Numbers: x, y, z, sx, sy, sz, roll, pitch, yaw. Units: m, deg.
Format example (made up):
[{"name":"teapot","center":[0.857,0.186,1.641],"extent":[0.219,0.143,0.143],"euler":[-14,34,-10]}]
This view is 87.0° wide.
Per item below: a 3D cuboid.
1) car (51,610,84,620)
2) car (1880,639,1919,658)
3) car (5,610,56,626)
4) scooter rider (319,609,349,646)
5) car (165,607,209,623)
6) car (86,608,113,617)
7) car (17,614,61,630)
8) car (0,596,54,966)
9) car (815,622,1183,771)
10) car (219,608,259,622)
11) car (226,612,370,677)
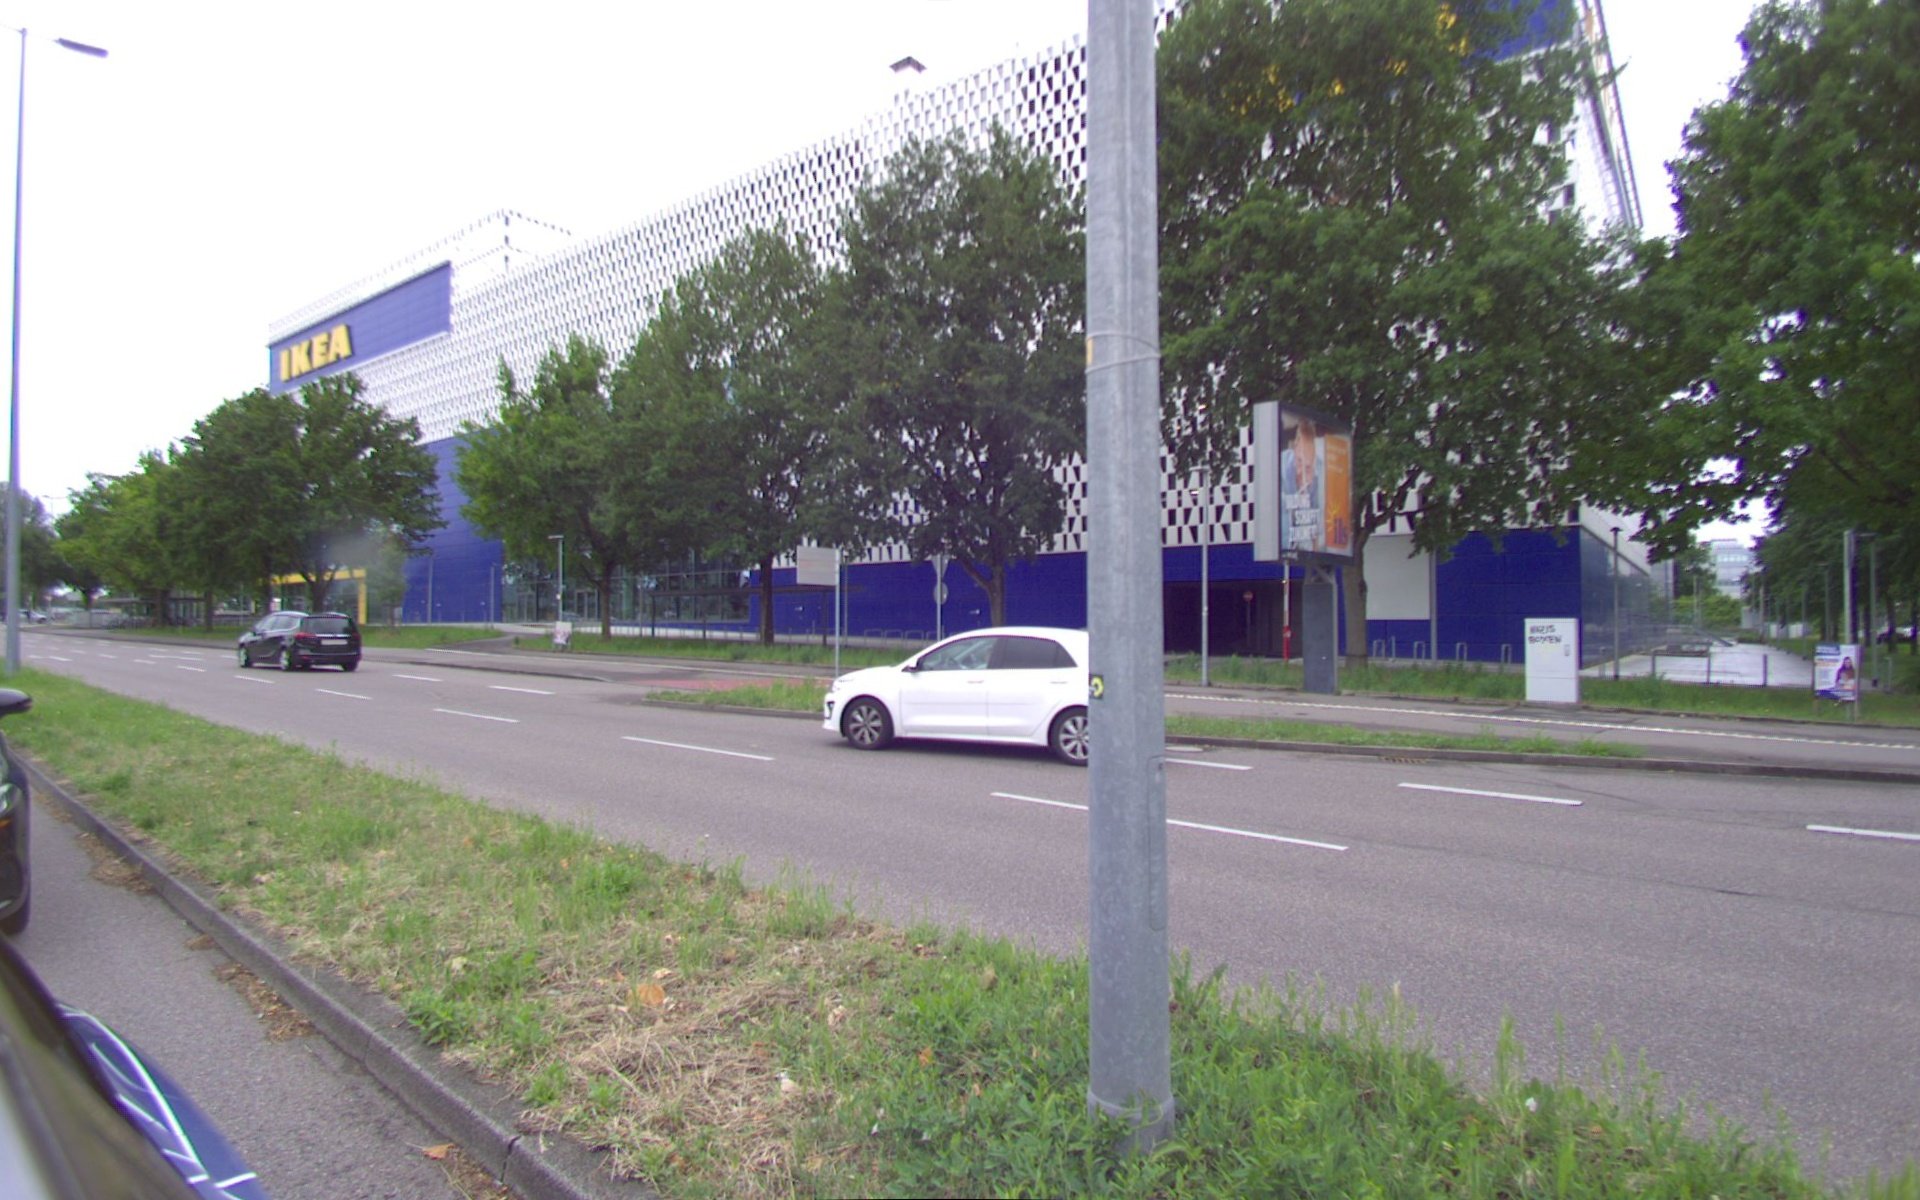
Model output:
[{"name":"car","center":[-161.242,2.675,182.819],"extent":[1.741,1.837,4.239],"euler":[0,0,37]},{"name":"car","center":[88.643,4.562,94.424],"extent":[3.991,1.630,1.782],"euler":[0,0,35]},{"name":"car","center":[-106.531,2.096,116.028],"extent":[1.995,1.811,3.953],"euler":[-1,-2,34]},{"name":"scooter rider","center":[-29.556,1.298,47.795],"extent":[1.033,1.733,0.791],"euler":[0,0,24]},{"name":"car","center":[-86.613,1.685,113.412],"extent":[1.741,1.652,3.522],"euler":[0,0,37]},{"name":"car","center":[-158.494,2.278,186.493],"extent":[1.741,1.652,3.522],"euler":[0,0,37]},{"name":"car","center":[-118.738,2.827,130.482],"extent":[1.998,2.029,3.948],"euler":[0,0,38]},{"name":"car","center":[-5.832,0.762,4.777],"extent":[4.194,1.445,1.835],"euler":[-2,-1,41]},{"name":"car","center":[0.470,1.017,11.748],"extent":[3.907,1.463,1.773],"euler":[0,-2,23]},{"name":"car","center":[-97.258,2.006,136.449],"extent":[1.994,1.829,3.955],"euler":[0,0,33]},{"name":"car","center":[-18.814,1.231,28.709],"extent":[4.350,1.668,1.827],"euler":[0,-3,34]}]
